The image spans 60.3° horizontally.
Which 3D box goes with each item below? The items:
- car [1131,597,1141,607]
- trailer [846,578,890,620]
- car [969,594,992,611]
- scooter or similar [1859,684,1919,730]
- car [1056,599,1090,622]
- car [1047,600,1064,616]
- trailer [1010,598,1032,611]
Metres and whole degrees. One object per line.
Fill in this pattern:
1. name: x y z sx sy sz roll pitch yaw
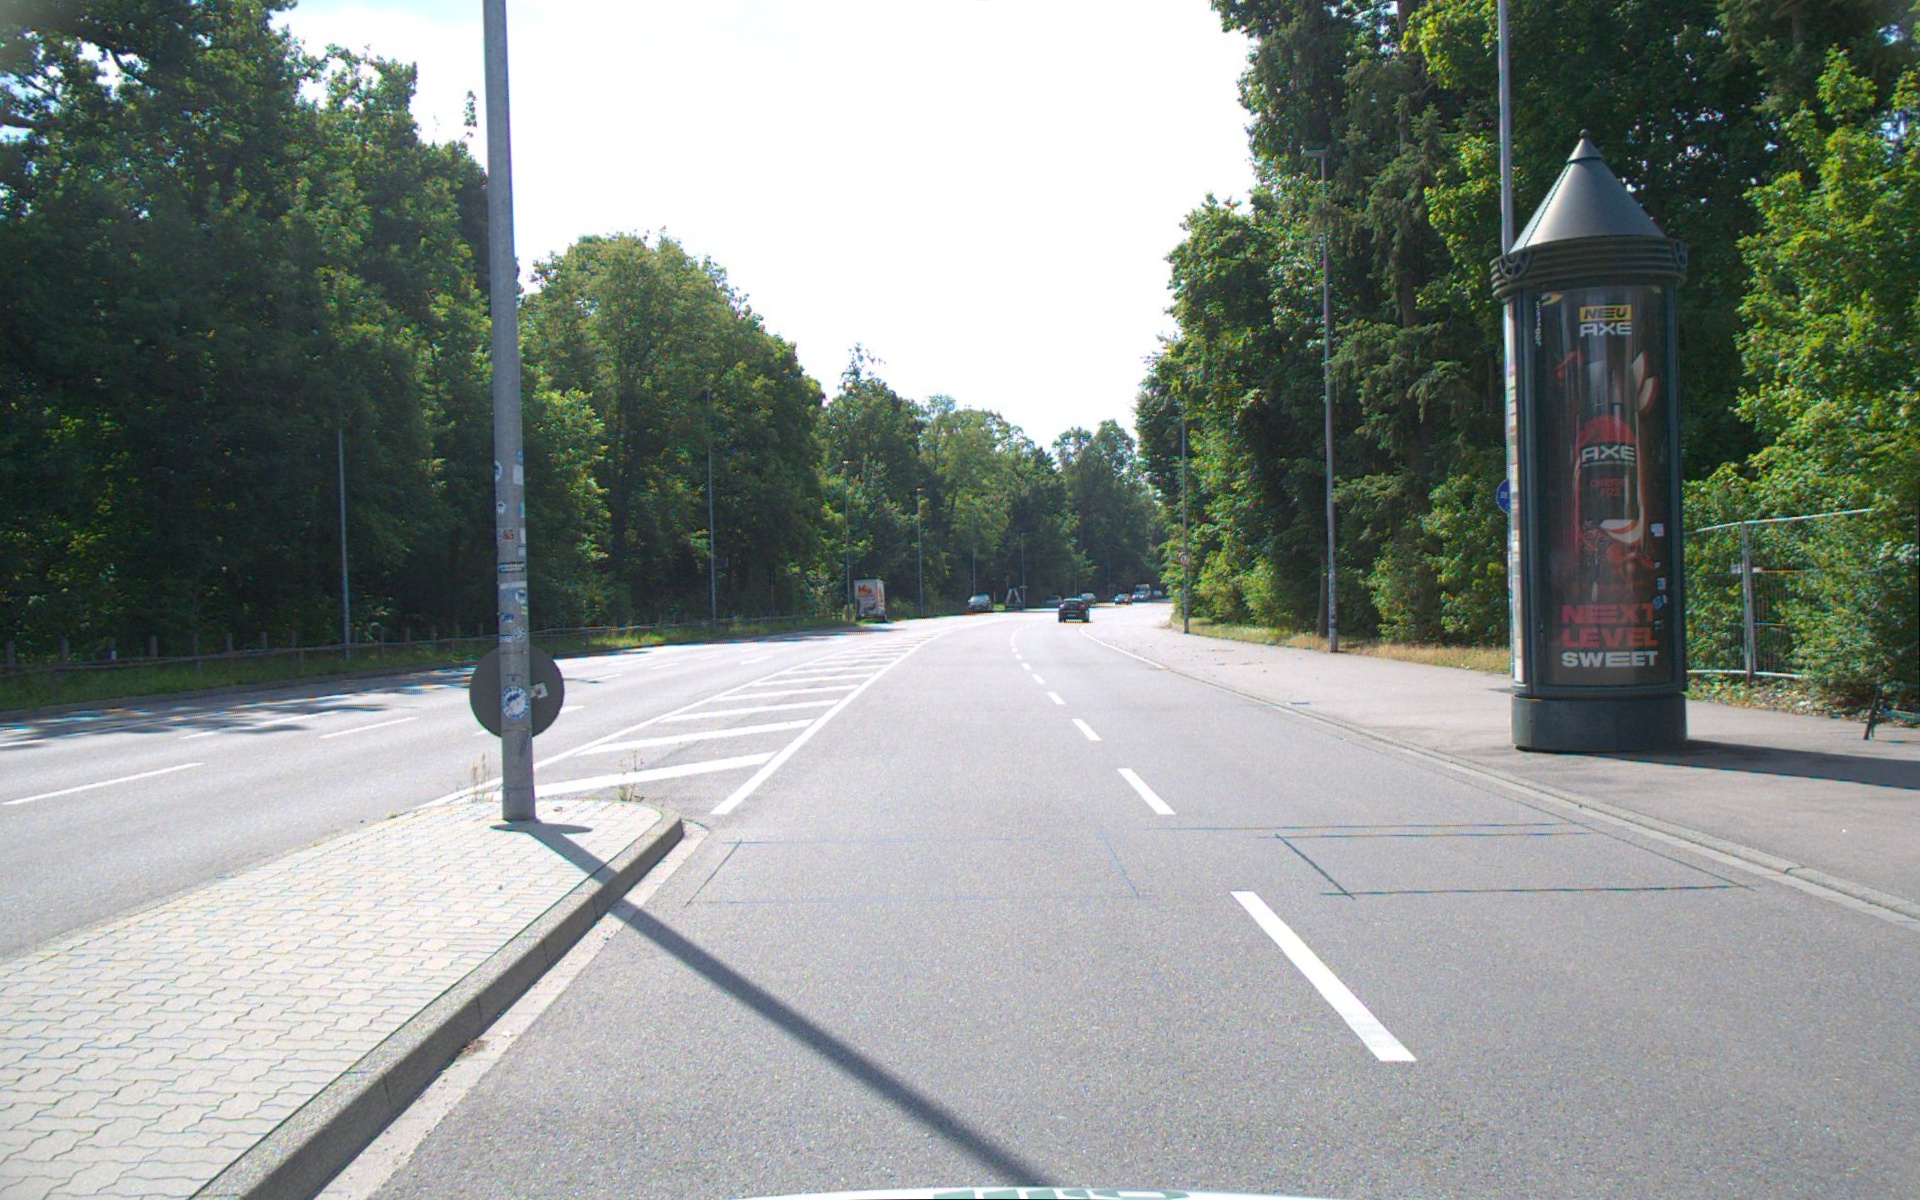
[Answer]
1. car: 26.808 0.361 251.685 1.471 1.472 3.531 -1 0 6
2. trailer: -5.492 -0.051 99.231 1.951 2.430 4.003 -1 0 7
3. car: 1.862 0.219 147.757 1.471 1.472 3.532 -1 0 11
4. scooter or similar: 8.982 0.986 14.989 0.836 0.395 1.473 4 -4 -2
5. car: 7.083 0.626 103.306 1.563 1.402 3.979 -1 0 12
6. car: 11.391 0.972 197.766 1.882 1.887 4.002 -1 0 5
7. trailer: 6.297 0.458 170.160 1.679 1.378 3.735 -1 0 11
